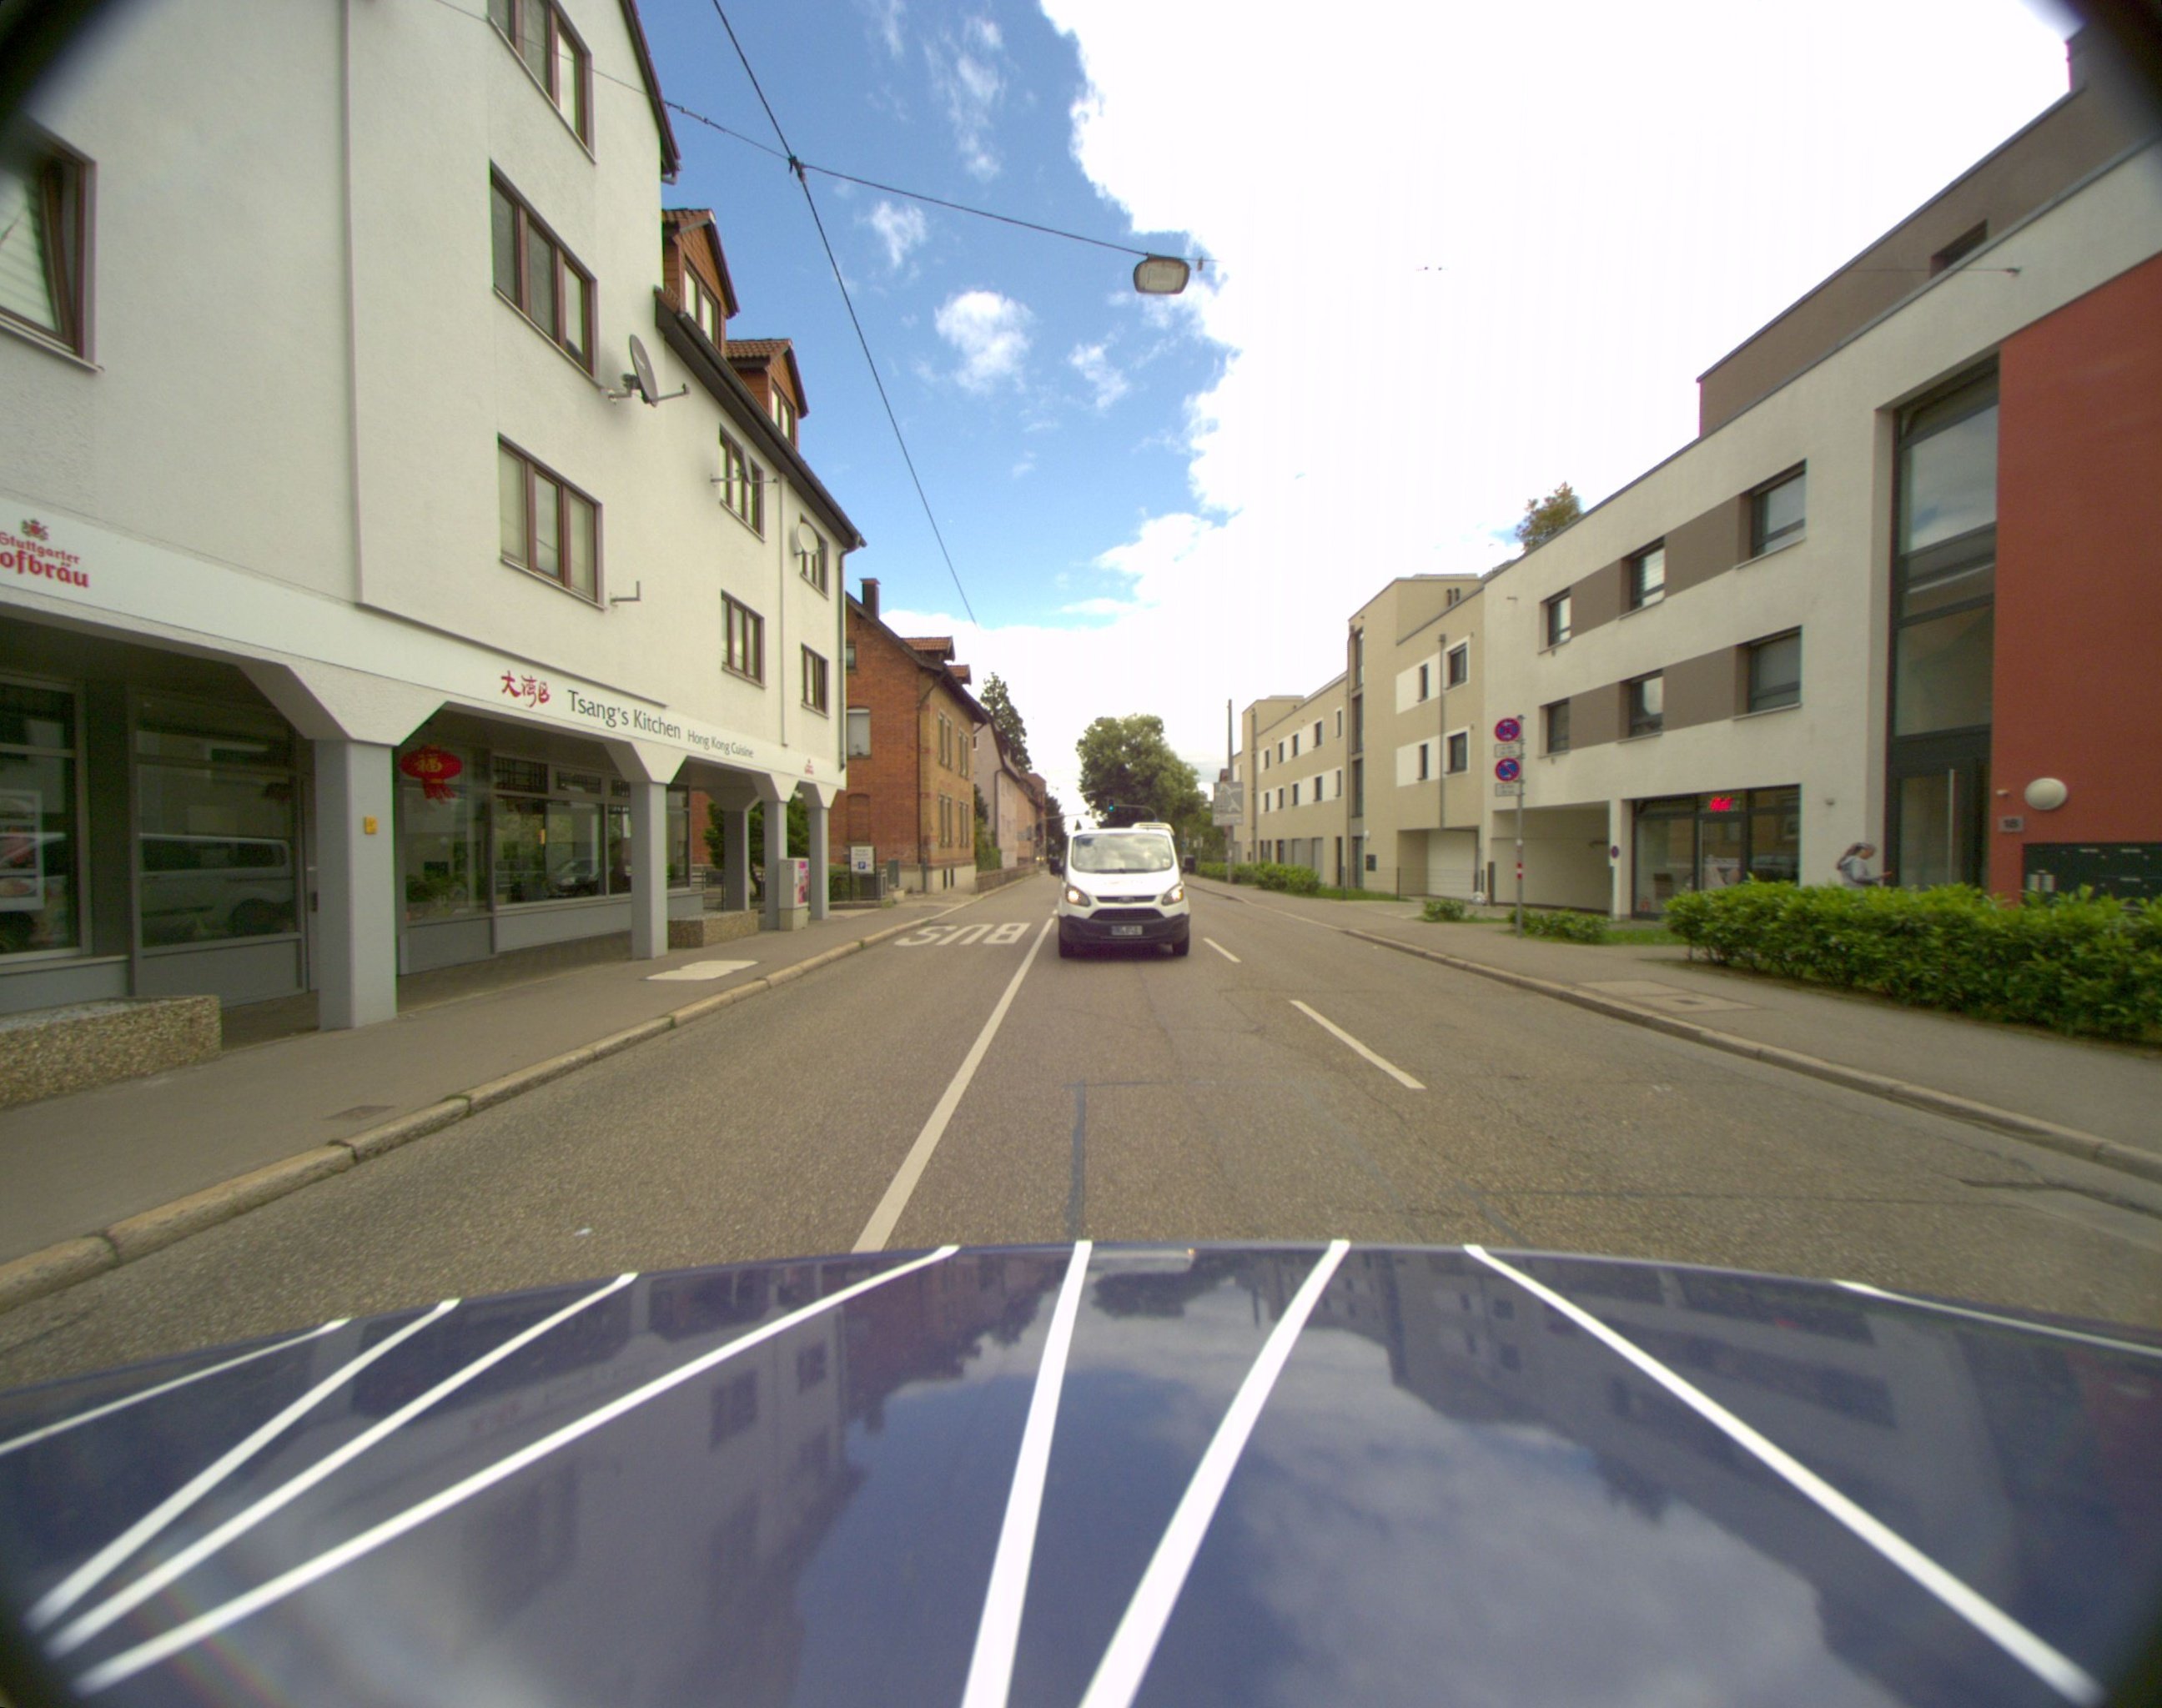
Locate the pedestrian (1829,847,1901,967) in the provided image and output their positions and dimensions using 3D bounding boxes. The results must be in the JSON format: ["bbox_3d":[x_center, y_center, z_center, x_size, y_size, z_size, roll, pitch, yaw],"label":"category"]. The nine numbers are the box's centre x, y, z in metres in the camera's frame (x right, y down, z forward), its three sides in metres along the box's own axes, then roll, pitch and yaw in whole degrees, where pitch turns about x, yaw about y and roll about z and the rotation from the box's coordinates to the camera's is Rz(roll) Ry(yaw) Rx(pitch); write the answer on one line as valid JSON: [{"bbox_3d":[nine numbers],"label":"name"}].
[{"bbox_3d":[11.050,0.717,10.724,0.519,1.633,0.641,0,1,27],"label":"pedestrian"}]

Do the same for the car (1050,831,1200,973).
[{"bbox_3d":[0.615,0.641,13.023,2.062,1.946,5.060,0,1,0],"label":"car"}]

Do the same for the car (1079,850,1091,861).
[{"bbox_3d":[0.534,0.201,113.840,1.755,1.485,3.985,0,1,0],"label":"car"}]

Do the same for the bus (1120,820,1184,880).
[{"bbox_3d":[4.168,-0.251,47.422,2.950,3.255,12.007,1,0,1],"label":"bus"}]
